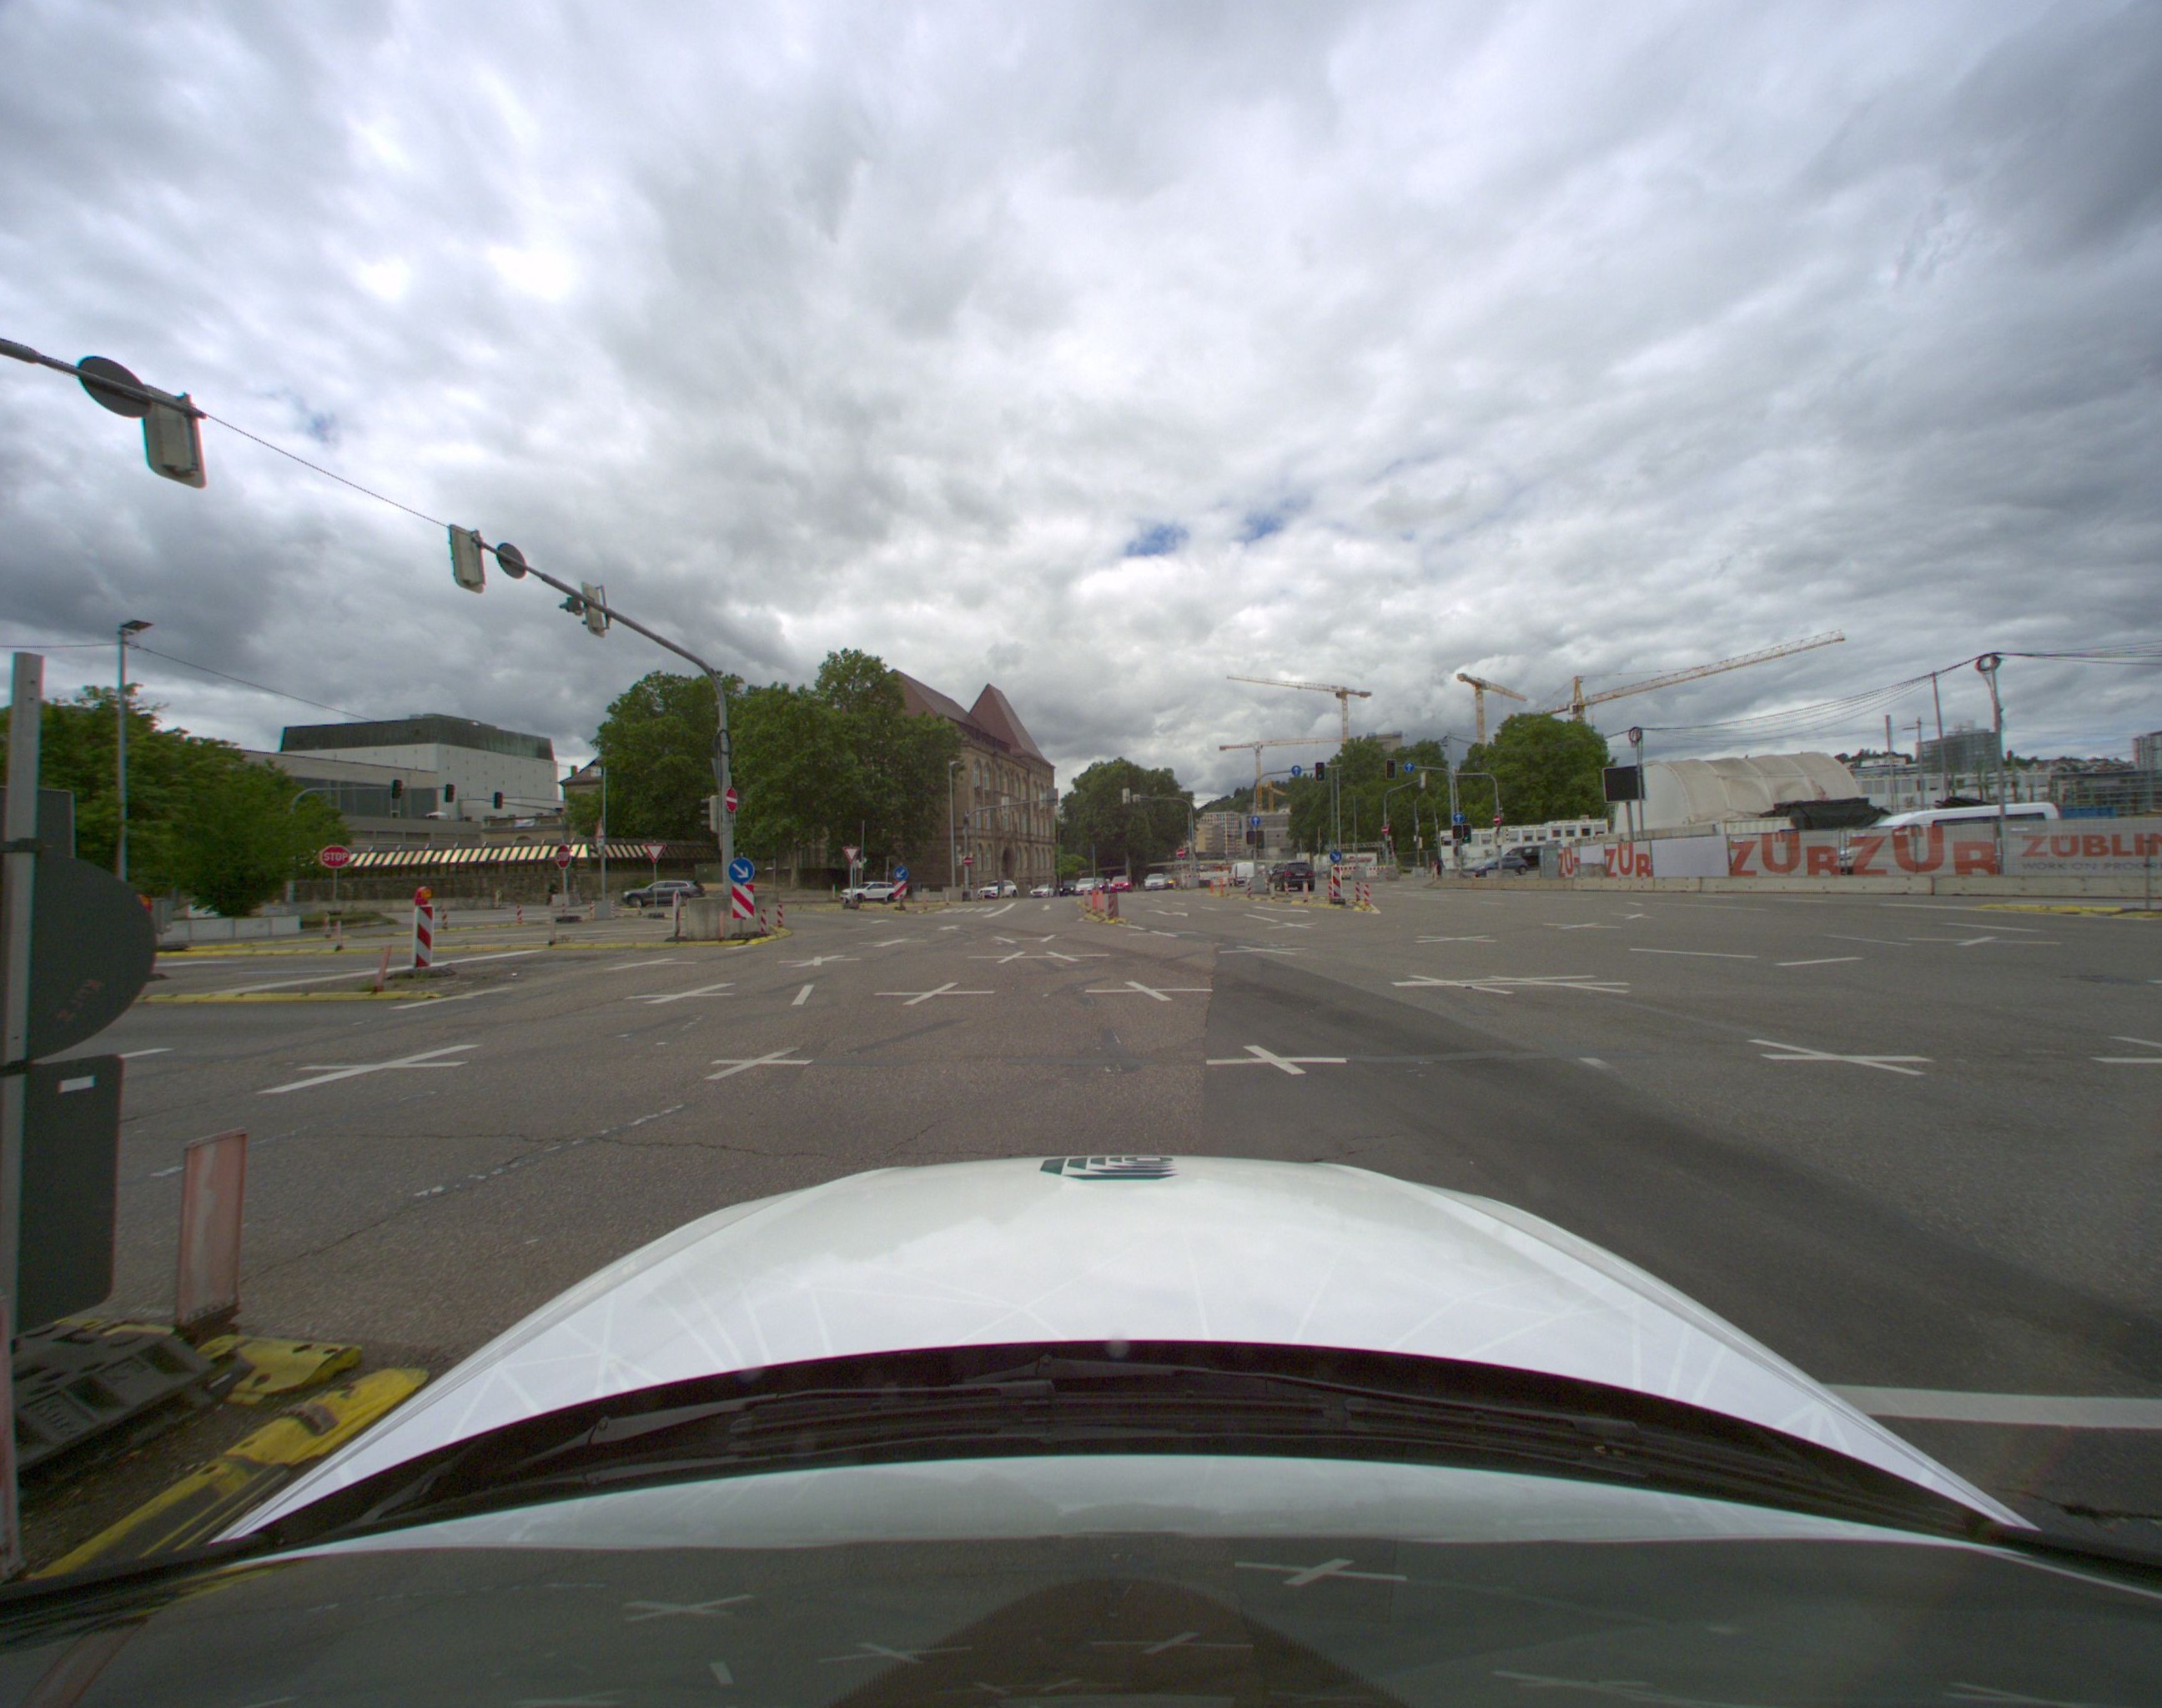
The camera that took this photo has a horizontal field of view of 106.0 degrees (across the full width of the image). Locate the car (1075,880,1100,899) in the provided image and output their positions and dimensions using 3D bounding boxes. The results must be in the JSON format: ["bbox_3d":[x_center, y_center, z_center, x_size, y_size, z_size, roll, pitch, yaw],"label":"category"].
[{"bbox_3d":[0.609,3.078,70.521,1.651,1.435,3.453,-4,-3,7],"label":"car"}]

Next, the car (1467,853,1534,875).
[{"bbox_3d":[30.347,0.720,58.959,4.055,1.435,1.780,-2,-1,-11],"label":"car"}]

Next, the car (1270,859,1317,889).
[{"bbox_3d":[12.467,1.195,47.974,1.930,1.667,3.644,-2,-2,2],"label":"car"}]

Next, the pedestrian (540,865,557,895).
[{"bbox_3d":[-36.551,1.760,55.924,0.852,2.014,0.618,-1,-3,-24],"label":"pedestrian"}]

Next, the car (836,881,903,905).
[{"bbox_3d":[-15.085,2.730,58.148,4.355,1.568,1.735,1,-2,-43],"label":"car"}]

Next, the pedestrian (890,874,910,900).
[{"bbox_3d":[-14.050,2.549,63.128,1.198,2.014,1.192,-1,-2,-31],"label":"pedestrian"}]

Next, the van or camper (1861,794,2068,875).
[{"bbox_3d":[28.330,-0.554,26.316,3.949,2.227,2.012,-4,-2,27],"label":"van or camper"}]

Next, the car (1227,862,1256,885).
[{"bbox_3d":[12.385,1.505,62.965,1.750,1.687,3.647,-2,-2,5],"label":"car"}]

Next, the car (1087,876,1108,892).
[{"bbox_3d":[1.582,2.879,77.631,1.651,1.435,3.454,-1,-2,7],"label":"car"}]

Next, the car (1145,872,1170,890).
[{"bbox_3d":[6.465,2.275,68.634,1.679,1.435,3.455,-4,-3,9],"label":"car"}]

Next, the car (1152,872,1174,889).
[{"bbox_3d":[7.581,2.466,75.362,1.679,1.435,3.455,-4,-3,9],"label":"car"}]

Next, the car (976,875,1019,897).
[{"bbox_3d":[-6.939,2.625,67.761,1.797,1.643,4.573,-1,-1,18],"label":"car"}]

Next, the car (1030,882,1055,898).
[{"bbox_3d":[-3.758,3.496,80.180,1.725,1.435,4.390,-1,-1,7],"label":"car"}]

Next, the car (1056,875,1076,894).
[{"bbox_3d":[-1.750,3.618,95.903,1.924,1.938,3.676,-4,-5,4],"label":"car"}]

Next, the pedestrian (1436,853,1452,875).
[{"bbox_3d":[26.975,0.778,60.535,0.621,1.592,0.847,-2,-2,-13],"label":"pedestrian"}]

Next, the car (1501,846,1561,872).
[{"bbox_3d":[37.372,0.428,67.677,3.990,2.014,1.992,-1,-1,-12],"label":"car"}]

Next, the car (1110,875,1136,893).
[{"bbox_3d":[3.562,2.513,68.878,1.676,1.435,3.455,-3,-2,9],"label":"car"}]

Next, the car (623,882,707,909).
[{"bbox_3d":[-26.671,2.645,52.336,4.471,1.568,1.821,-1,-1,-14],"label":"car"}]
